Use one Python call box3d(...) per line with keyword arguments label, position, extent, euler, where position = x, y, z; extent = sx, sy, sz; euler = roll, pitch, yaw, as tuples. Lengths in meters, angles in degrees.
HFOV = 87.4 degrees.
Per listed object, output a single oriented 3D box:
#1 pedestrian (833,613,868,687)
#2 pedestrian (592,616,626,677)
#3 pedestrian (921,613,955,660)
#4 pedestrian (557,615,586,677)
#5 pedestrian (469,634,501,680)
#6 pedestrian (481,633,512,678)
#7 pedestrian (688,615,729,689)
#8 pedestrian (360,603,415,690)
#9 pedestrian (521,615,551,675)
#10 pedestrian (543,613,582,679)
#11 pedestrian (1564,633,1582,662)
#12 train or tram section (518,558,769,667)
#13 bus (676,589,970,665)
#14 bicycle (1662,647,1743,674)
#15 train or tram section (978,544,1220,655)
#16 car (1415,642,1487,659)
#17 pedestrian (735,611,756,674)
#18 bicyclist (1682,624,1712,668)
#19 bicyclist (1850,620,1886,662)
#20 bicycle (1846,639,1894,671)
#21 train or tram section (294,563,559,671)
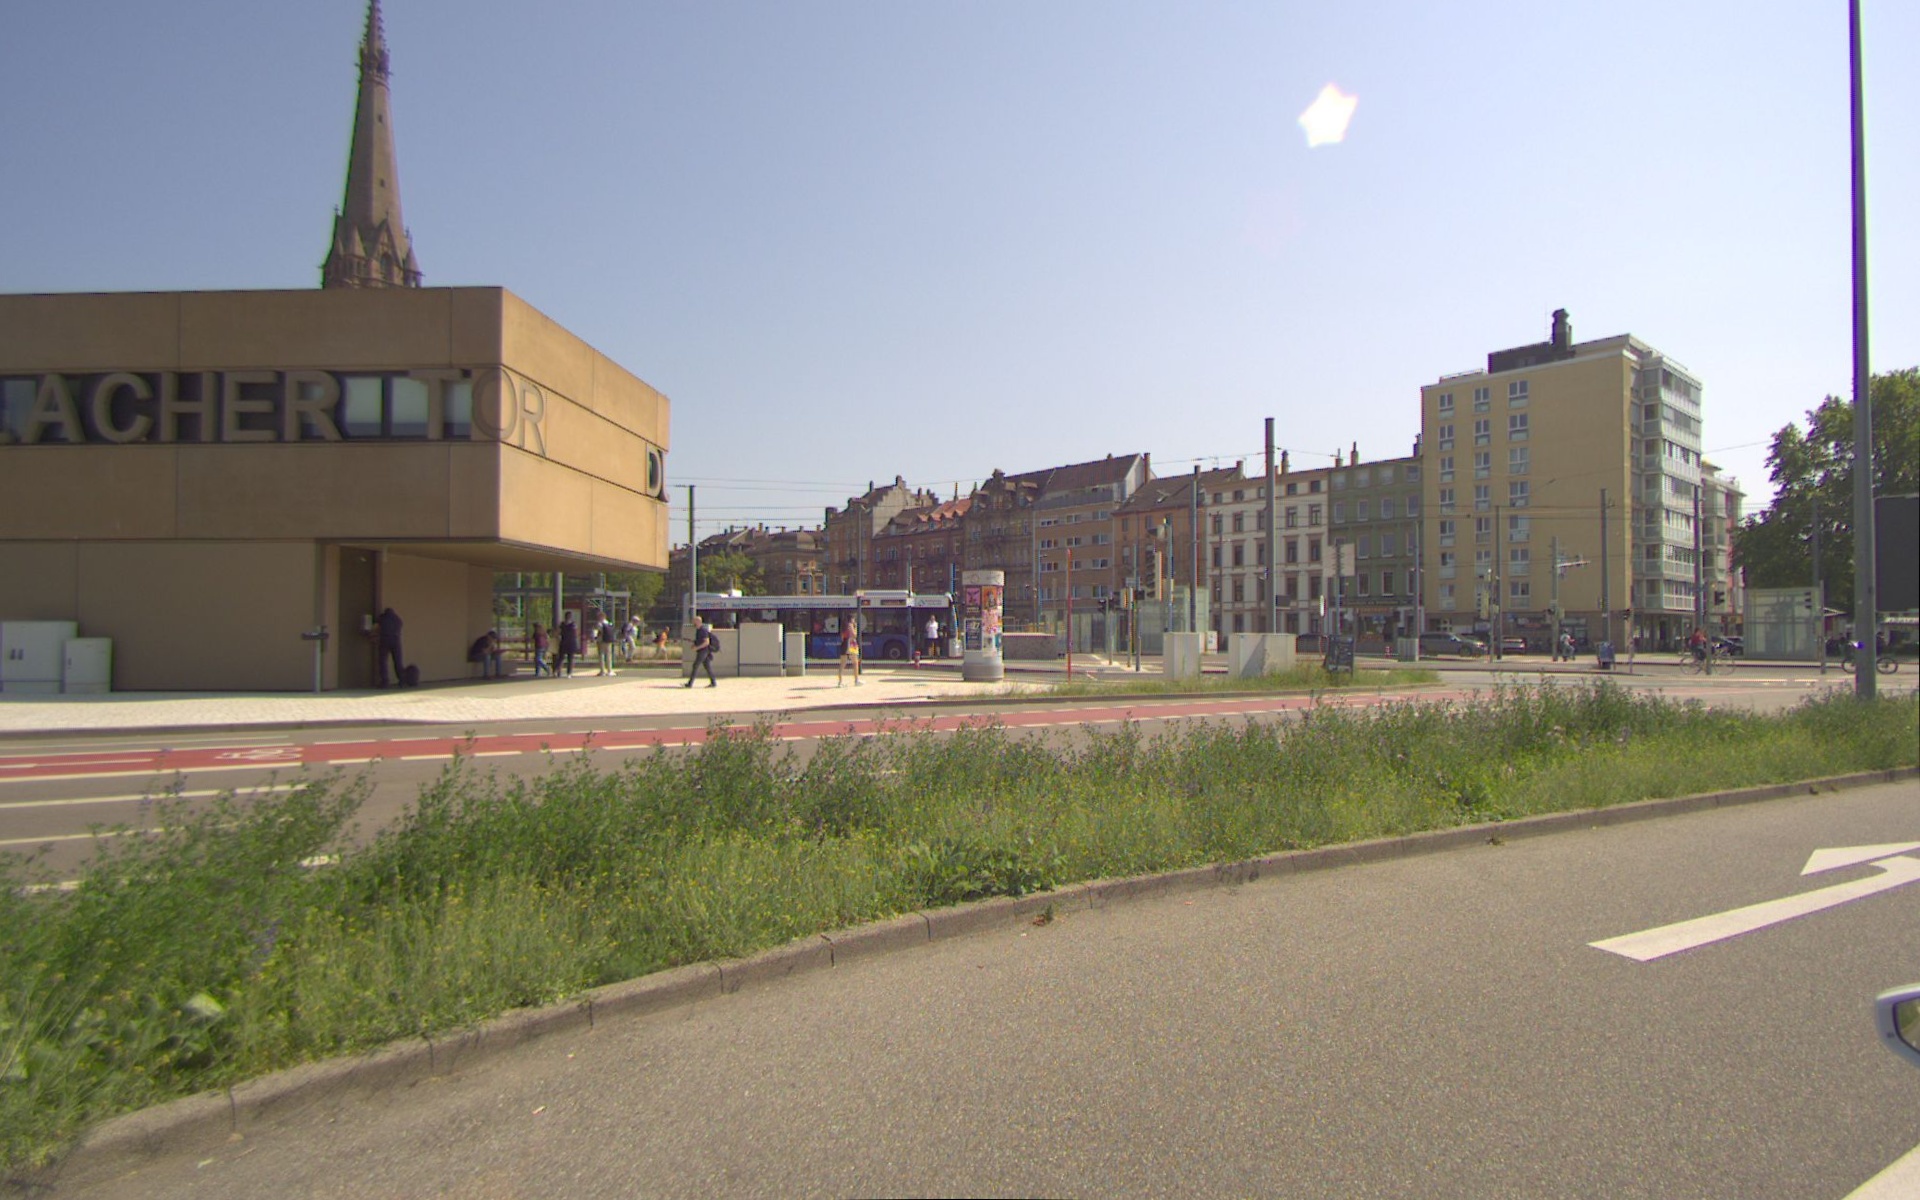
box3d(label="pedestrian", position=(-2.644, 1.198, 24.251), extent=(0.615, 1.725, 0.787), euler=(-1, 1, 11))
box3d(label="pedestrian", position=(-9.860, 1.302, 28.189), extent=(0.800, 1.691, 0.547), euler=(1, -2, -31))
box3d(label="pedestrian", position=(-0.903, 1.496, 41.386), extent=(1.284, 1.910, 1.039), euler=(0, -2, 5))
box3d(label="pedestrian", position=(-10.338, 1.226, 26.731), extent=(0.500, 1.635, 0.491), euler=(0, -2, 27))
box3d(label="pedestrian", position=(-11.535, 1.377, 24.400), extent=(0.490, 1.098, 0.541), euler=(0, -2, 2))
box3d(label="pedestrian", position=(-11.514, 1.379, 24.965), extent=(0.490, 1.098, 0.541), euler=(0, -2, 2))
box3d(label="pedestrian", position=(-5.976, 1.229, 23.855), extent=(0.800, 1.725, 0.641), euler=(1, -2, -30))
box3d(label="pedestrian", position=(-11.589, 0.933, 20.342), extent=(0.622, 1.711, 0.744), euler=(-1, -2, 36))
box3d(label="pedestrian", position=(-11.771, 1.252, 27.916), extent=(0.559, 1.635, 0.492), euler=(0, -2, 16))
box3d(label="pedestrian", position=(-10.086, 1.160, 25.496), extent=(0.679, 1.635, 0.639), euler=(0, -2, 9))
box3d(label="pedestrian", position=(34.835, 2.701, 57.108), extent=(0.808, 1.654, 0.643), euler=(2, -2, -41))
box3d(label="train or tram section", position=(-11.311, 0.523, 36.442), extent=(8.080, 3.616, 3.147), euler=(-1, -3, 3))
box3d(label="bus", position=(-5.763, 1.177, 43.612), extent=(12.232, 3.111, 3.108), euler=(0, -2, 3))
box3d(label="bicycle", position=(27.980, 2.269, 37.879), extent=(0.599, 0.966, 2.388), euler=(2, -2, -40))
box3d(label="train or tram section", position=(4.778, 0.083, 35.701), extent=(8.080, 3.616, 3.147), euler=(-1, -3, 3))
box3d(label="car", position=(31.334, 3.223, 64.146), extent=(3.842, 1.000, 1.706), euler=(-2, -3, 45))
box3d(label="pedestrian", position=(-6.164, 1.229, 28.917), extent=(0.541, 1.786, 0.696), euler=(1, -2, -10))
box3d(label="bicyclist", position=(27.890, 1.733, 38.011), extent=(0.602, 1.664, 0.831), euler=(2, -2, -41))
box3d(label="bicyclist", position=(36.299, 1.631, 40.160), extent=(0.959, 1.675, 0.660), euler=(-1, -2, 34))
box3d(label="bicycle", position=(36.135, 2.157, 39.912), extent=(0.959, 1.194, 2.824), euler=(-1, -2, 33))
box3d(label="train or tram section", position=(-19.356, 0.686, 36.815), extent=(8.080, 3.616, 3.147), euler=(-1, -3, 3))
